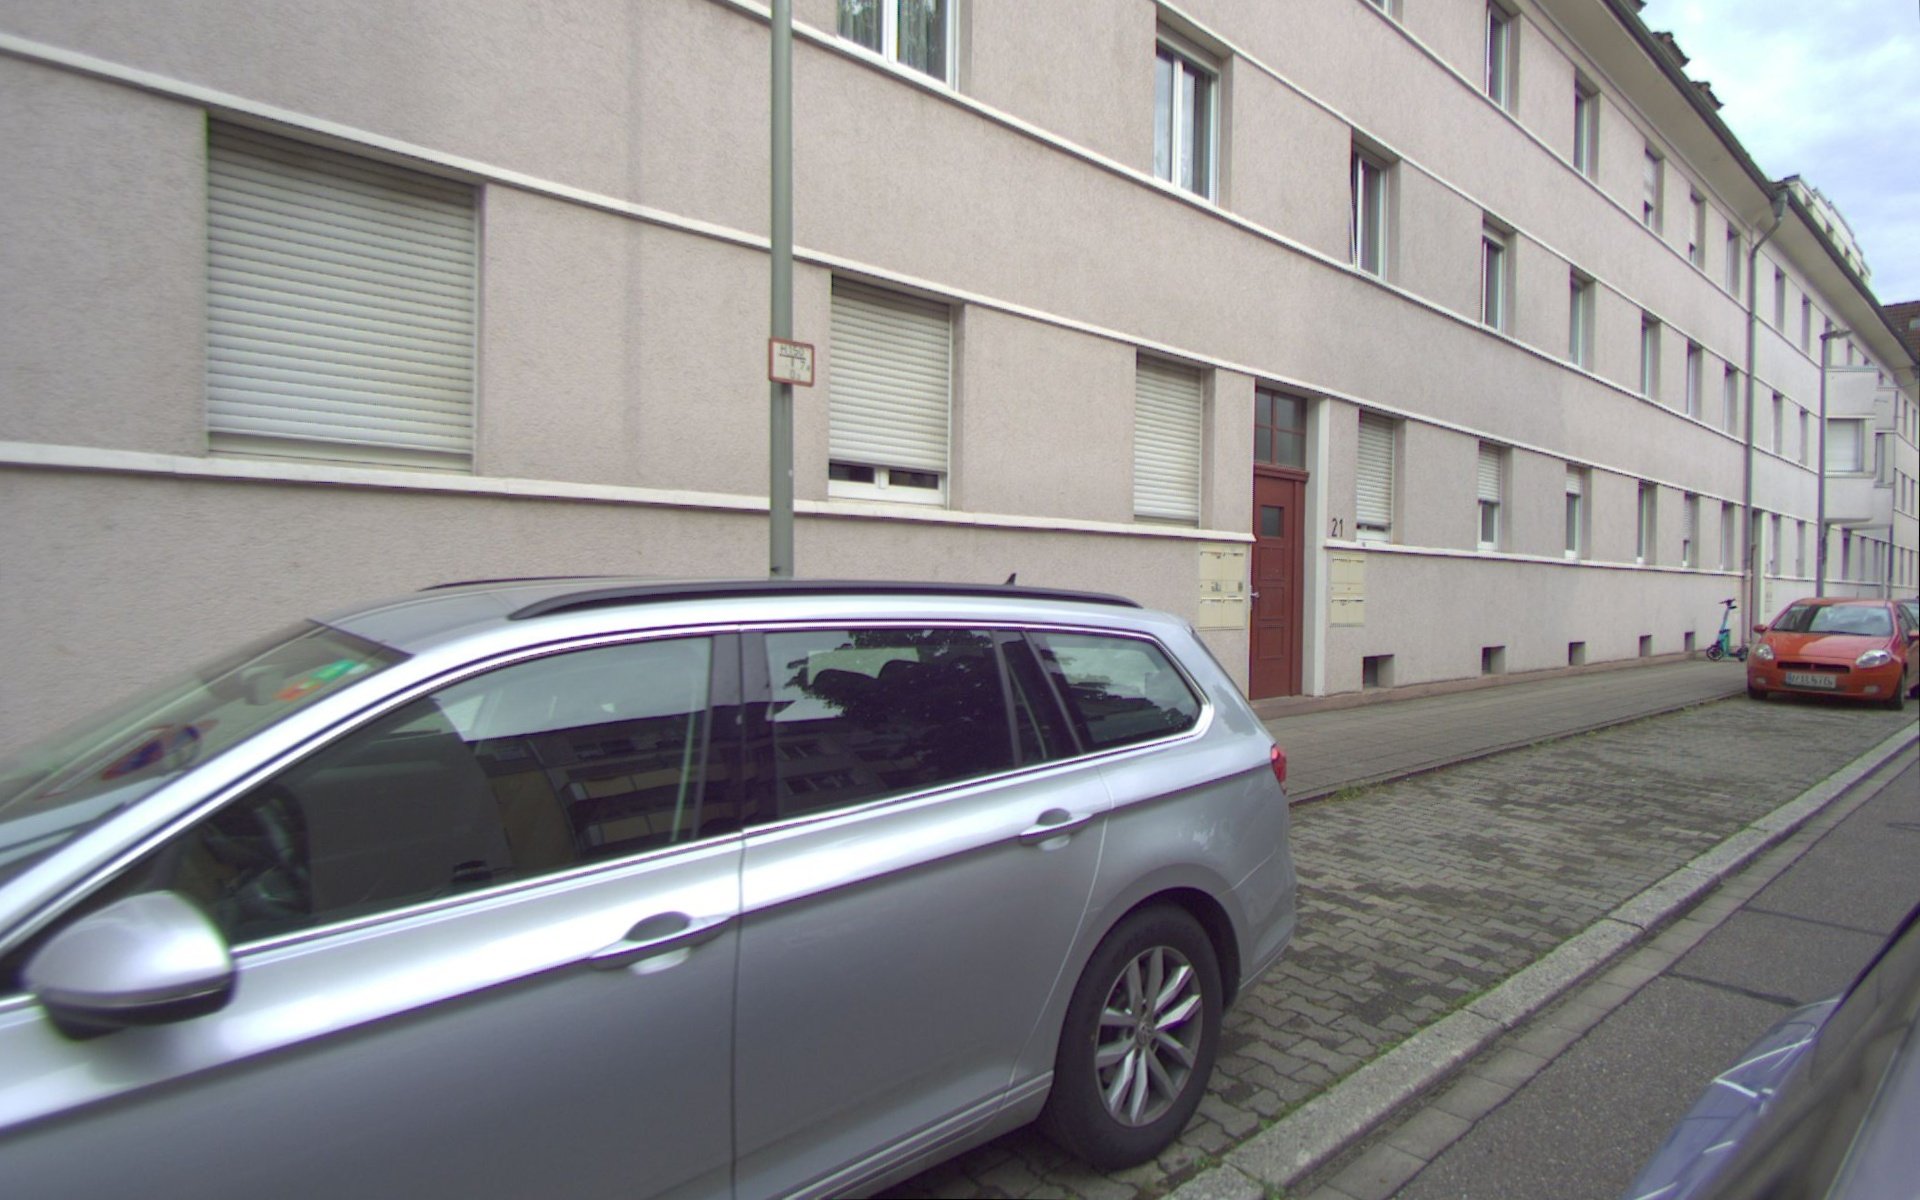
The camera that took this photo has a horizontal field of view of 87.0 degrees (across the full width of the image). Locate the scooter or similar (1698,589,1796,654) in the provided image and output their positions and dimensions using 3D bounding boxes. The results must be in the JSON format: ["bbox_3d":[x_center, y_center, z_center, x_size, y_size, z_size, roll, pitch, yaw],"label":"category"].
[{"bbox_3d":[15.629,0.419,20.106,1.441,1.248,0.652,1,1,-4],"label":"scooter or similar"}]

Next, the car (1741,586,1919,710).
[{"bbox_3d":[12.806,0.582,14.555,3.707,1.504,1.757,0,2,-41],"label":"car"}]

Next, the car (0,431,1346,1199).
[{"bbox_3d":[-0.821,0.509,2.700,3.969,1.482,1.791,0,1,-41],"label":"car"}]

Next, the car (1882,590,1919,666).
[{"bbox_3d":[21.046,0.573,21.620,3.425,1.527,1.587,0,1,-41],"label":"car"}]

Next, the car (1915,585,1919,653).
[{"bbox_3d":[25.173,0.471,25.099,3.887,1.624,1.763,0,1,-41],"label":"car"}]

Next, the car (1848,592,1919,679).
[{"bbox_3d":[17.138,0.593,18.170,3.252,1.430,1.352,0,1,-41],"label":"car"}]
